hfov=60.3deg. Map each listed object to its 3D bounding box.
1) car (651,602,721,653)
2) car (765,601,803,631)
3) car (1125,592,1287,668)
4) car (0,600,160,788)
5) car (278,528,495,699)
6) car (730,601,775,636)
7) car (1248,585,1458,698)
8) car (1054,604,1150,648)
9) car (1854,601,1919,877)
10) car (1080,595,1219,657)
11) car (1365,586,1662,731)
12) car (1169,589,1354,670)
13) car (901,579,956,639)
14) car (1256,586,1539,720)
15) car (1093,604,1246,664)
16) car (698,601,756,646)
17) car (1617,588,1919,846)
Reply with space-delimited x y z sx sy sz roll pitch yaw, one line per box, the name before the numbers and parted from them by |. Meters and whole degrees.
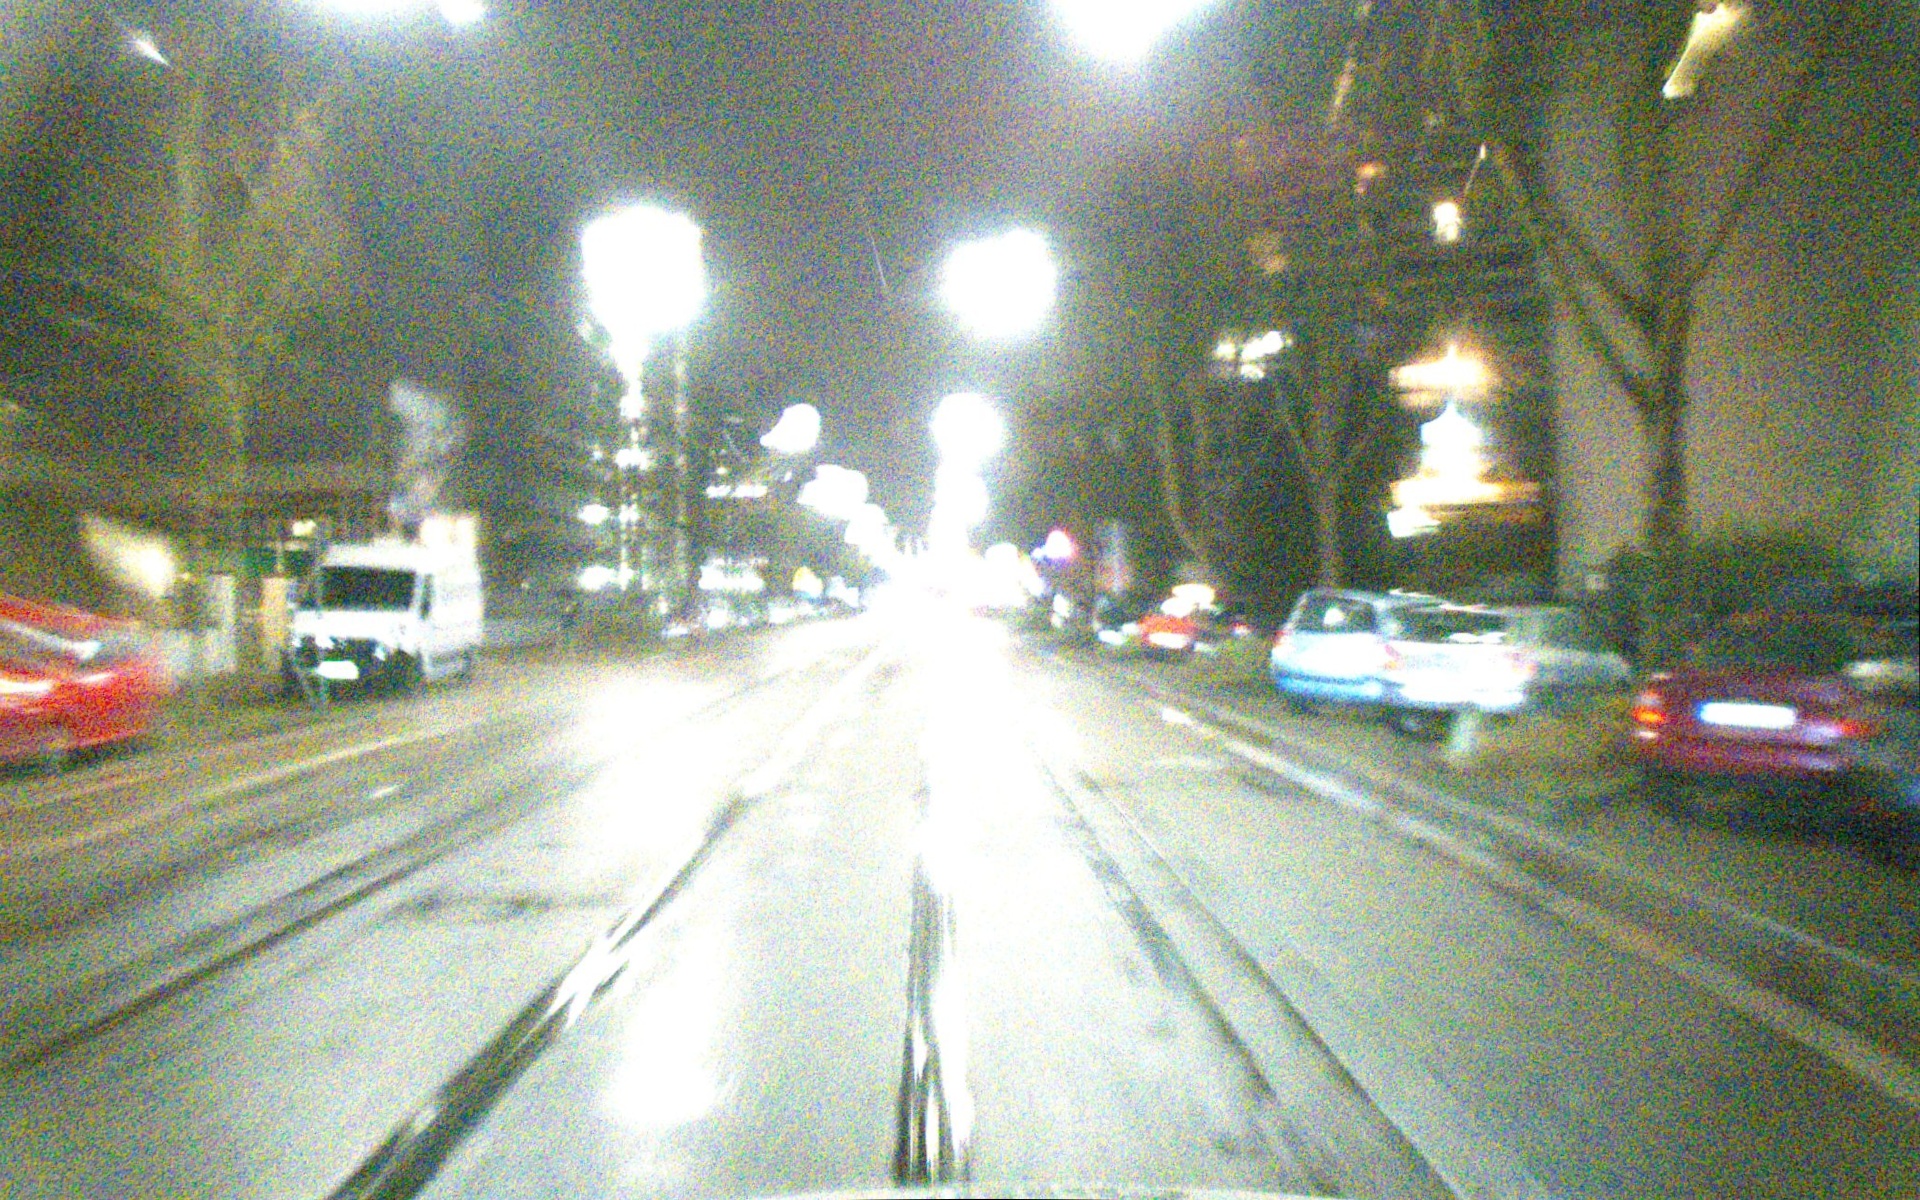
car | -10.262 1.015 62.248 2.066 1.795 4.961 2 -1 -4
car | -10.823 0.982 101.759 1.982 1.791 3.998 2 -1 -2
car | 5.737 0.681 38.275 2.018 1.652 3.808 1 0 40
car | -9.397 0.841 16.120 1.608 1.533 3.617 1 2 -4
car | -9.552 0.185 28.093 1.985 2.542 5.603 2 0 -4
car | -11.262 1.019 90.022 1.982 1.791 3.998 2 -1 -2
car | 6.201 0.625 25.859 1.672 1.560 3.732 3 1 40
car | 5.528 0.994 63.980 1.873 1.600 3.945 1 0 37
car | 6.509 0.731 9.056 3.300 1.409 1.610 1 0 -36
car | 5.641 0.769 48.960 1.995 1.728 4.221 1 0 43
car | 6.379 0.622 18.839 1.790 1.458 3.831 1 0 43
car | 5.895 0.546 32.113 3.798 1.455 1.611 0 0 -43
car | -1.394 0.383 71.464 2.172 2.484 5.381 0 0 -3
car | 5.735 0.634 21.472 3.857 1.560 1.793 1 0 -43
car | 5.658 0.904 44.291 1.918 1.480 4.218 1 0 44
car | -9.908 1.004 70.663 1.959 1.816 3.998 2 -1 -2
car | 6.350 0.675 12.007 1.661 1.429 4.434 1 2 40
